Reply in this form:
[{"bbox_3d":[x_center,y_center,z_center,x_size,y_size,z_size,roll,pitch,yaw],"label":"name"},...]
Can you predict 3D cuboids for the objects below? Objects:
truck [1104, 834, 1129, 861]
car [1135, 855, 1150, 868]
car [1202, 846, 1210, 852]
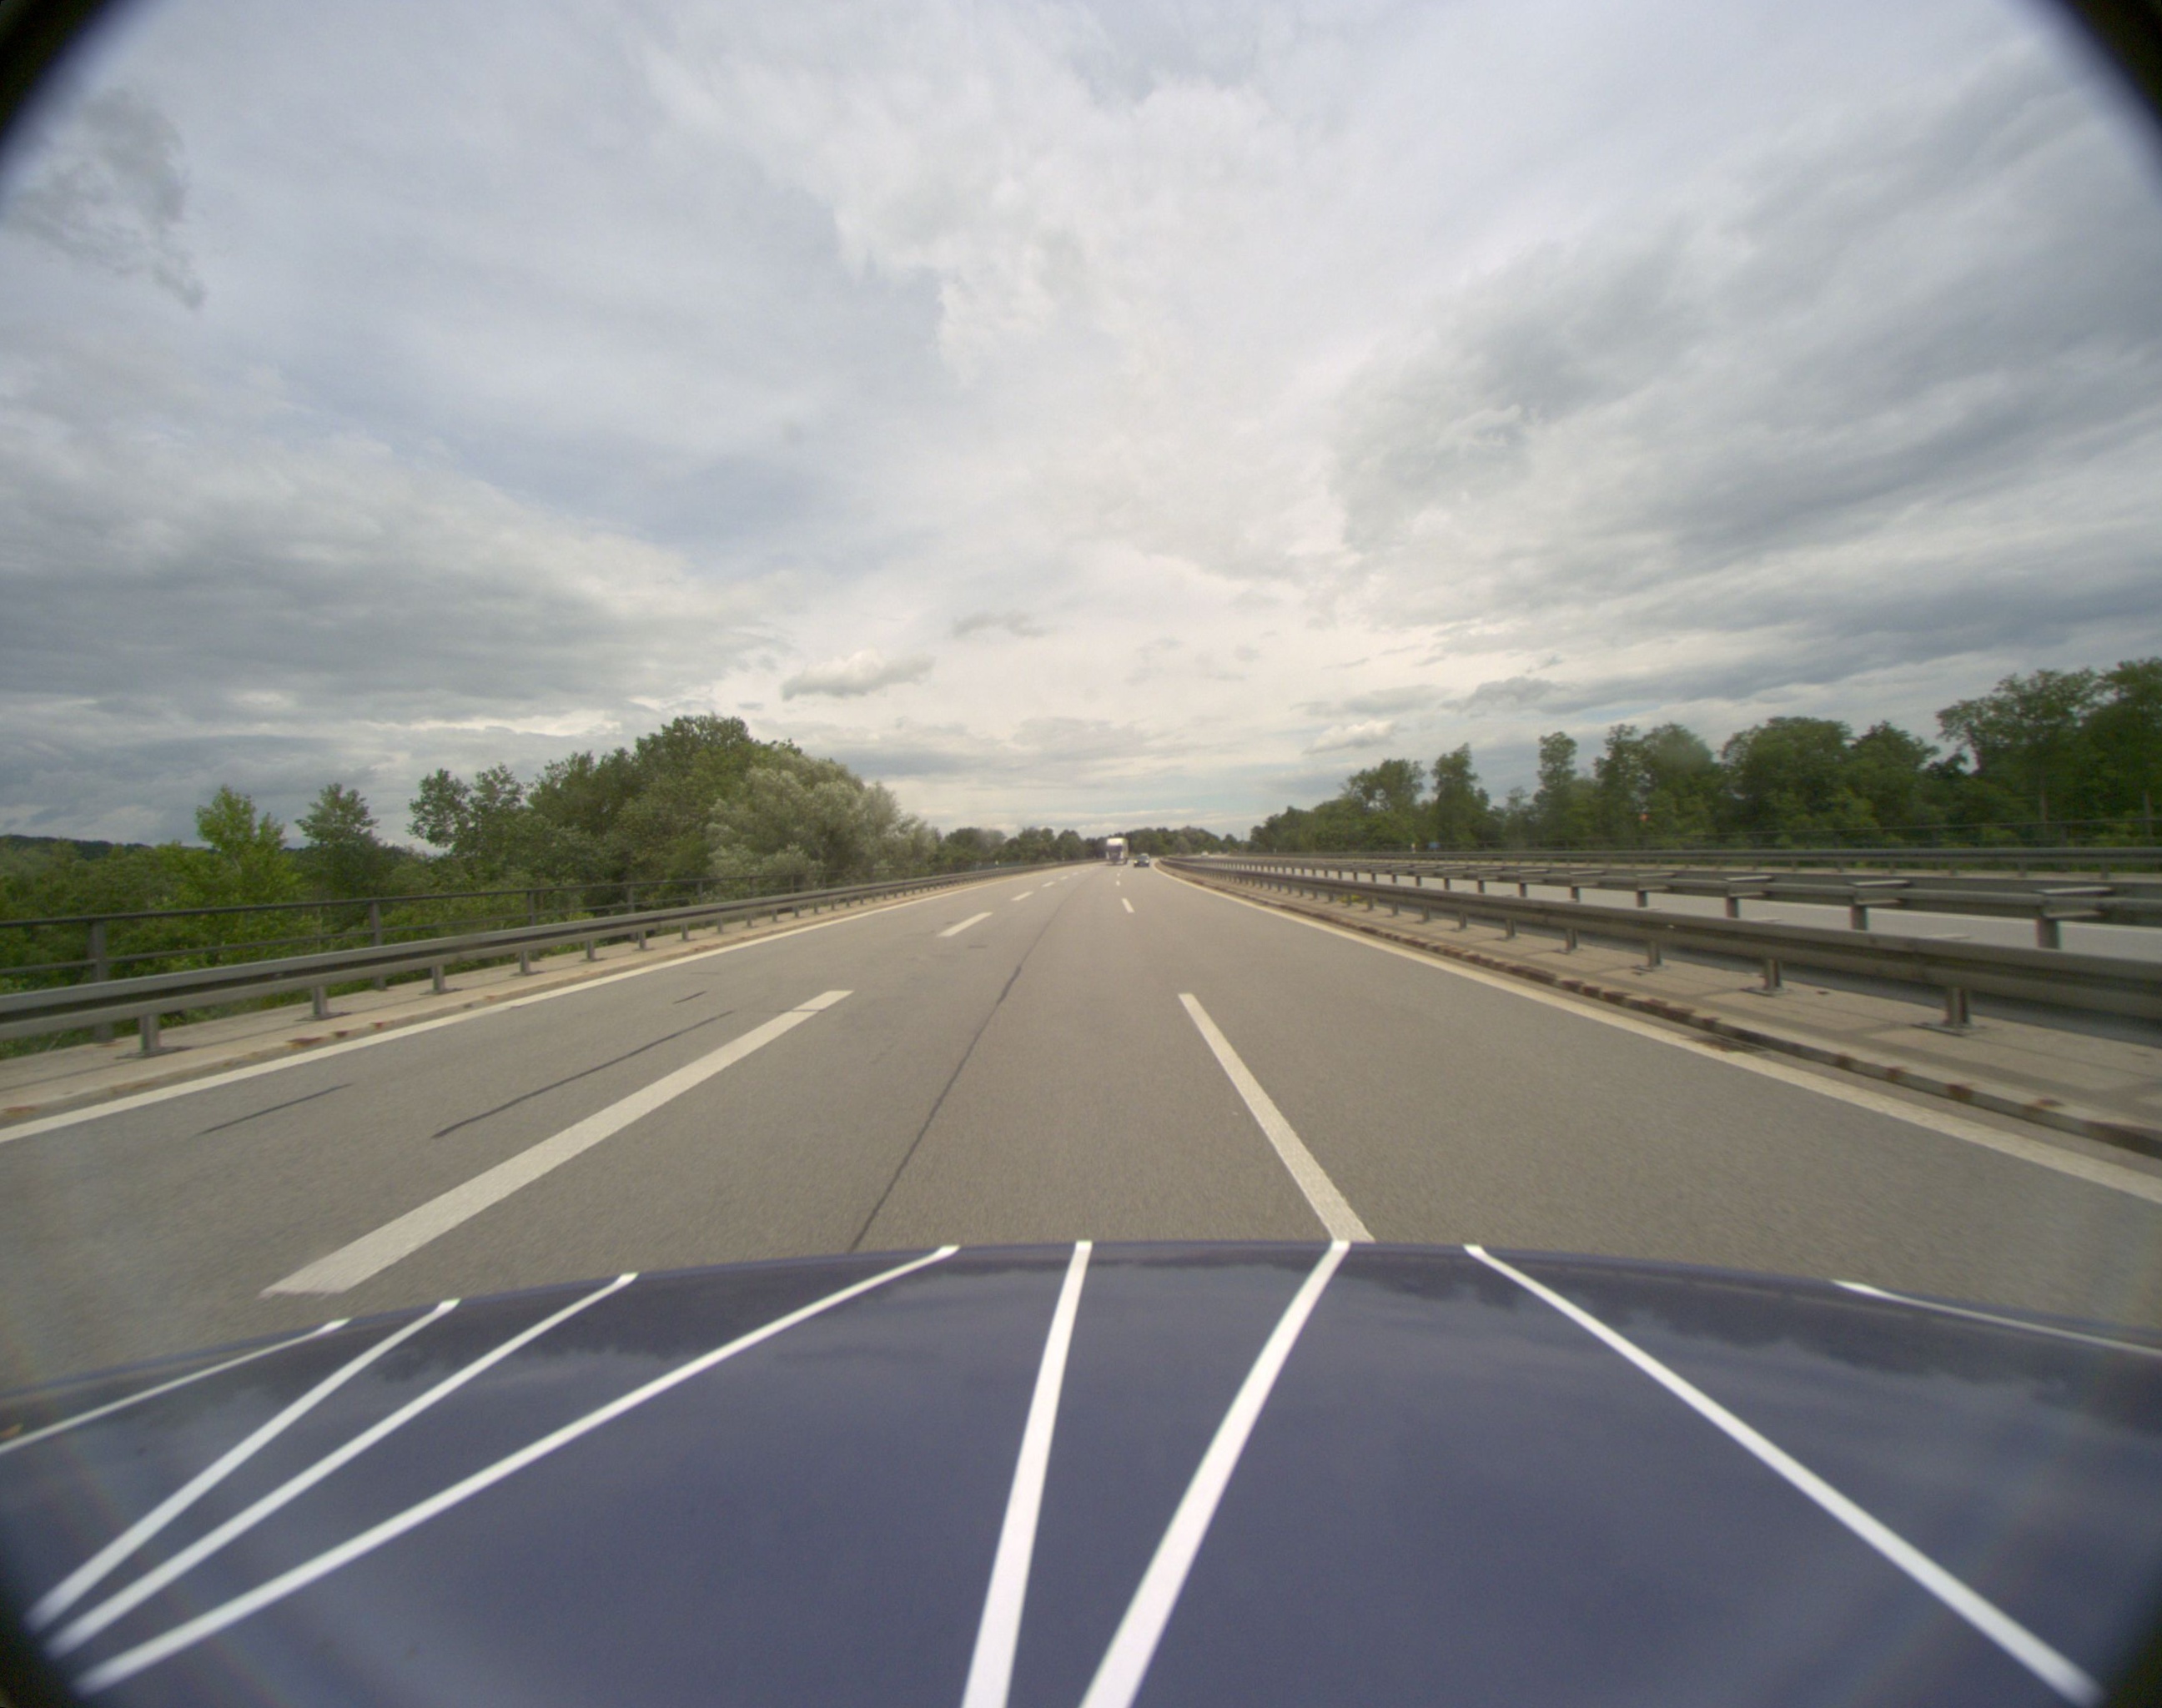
[{"bbox_3d":[5.409,-1.002,114.696,3.068,3.868,6.004,-2,0,8],"label":"truck"},{"bbox_3d":[7.319,0.931,90.293,1.774,1.474,4.700,-1,-1,5],"label":"car"},{"bbox_3d":[32.140,-1.209,195.296,1.534,1.399,4.329,-3,0,4],"label":"car"}]
